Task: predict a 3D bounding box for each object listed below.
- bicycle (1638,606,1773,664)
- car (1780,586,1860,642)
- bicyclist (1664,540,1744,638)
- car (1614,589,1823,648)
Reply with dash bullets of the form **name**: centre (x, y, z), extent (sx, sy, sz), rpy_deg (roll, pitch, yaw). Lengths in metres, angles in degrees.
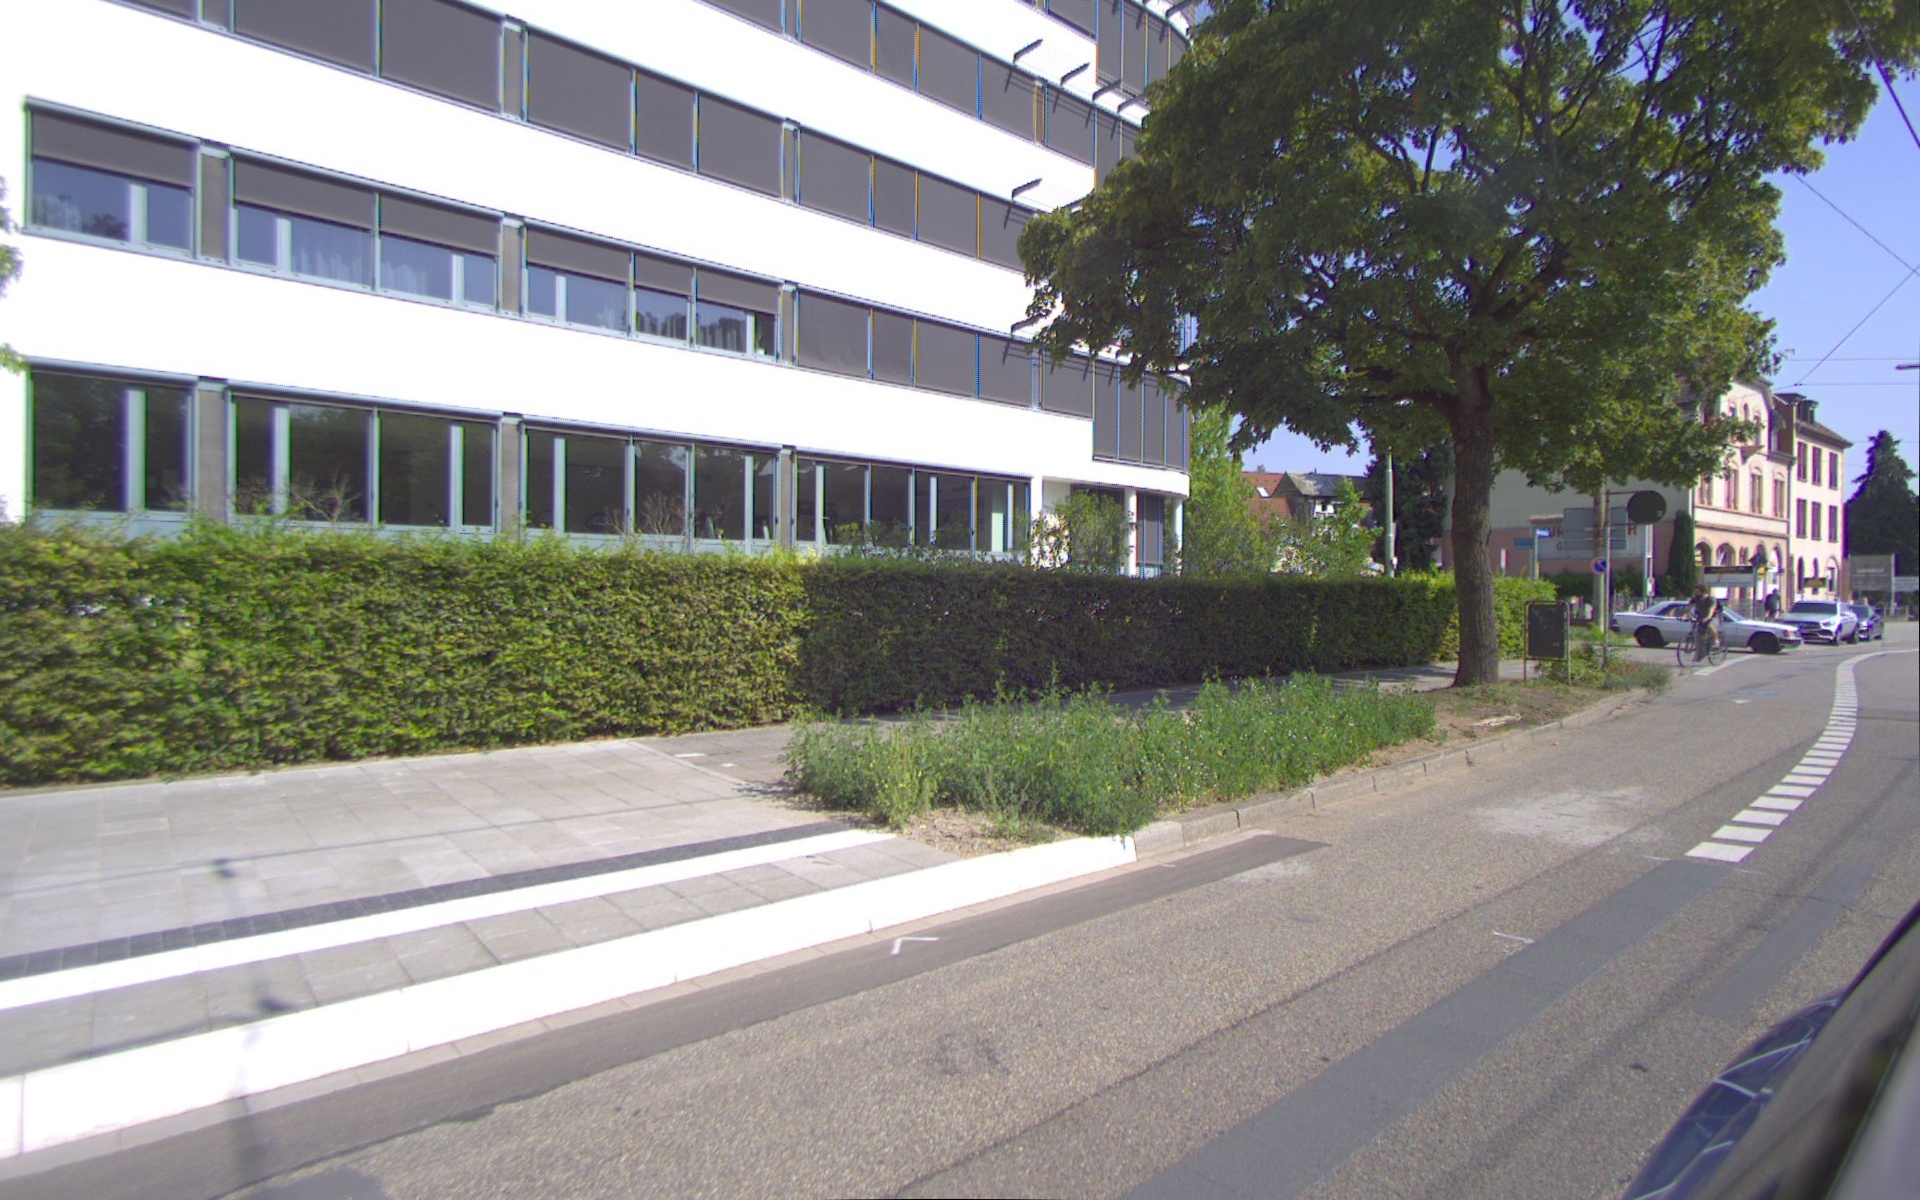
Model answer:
- **bicycle**: centre (15.880, 0.712, 21.566), extent (2.483, 1.139, 1.141), rpy_deg (0, 0, -20)
- **car**: centre (32.034, 0.470, 37.659), extent (1.955, 1.946, 4.481), rpy_deg (0, 0, 45)
- **bicyclist**: centre (15.790, -0.236, 21.499), extent (1.247, 2.039, 0.785), rpy_deg (0, 0, -19)
- **car**: centre (21.487, 0.477, 28.794), extent (1.929, 1.534, 4.541), rpy_deg (-1, 1, -45)
